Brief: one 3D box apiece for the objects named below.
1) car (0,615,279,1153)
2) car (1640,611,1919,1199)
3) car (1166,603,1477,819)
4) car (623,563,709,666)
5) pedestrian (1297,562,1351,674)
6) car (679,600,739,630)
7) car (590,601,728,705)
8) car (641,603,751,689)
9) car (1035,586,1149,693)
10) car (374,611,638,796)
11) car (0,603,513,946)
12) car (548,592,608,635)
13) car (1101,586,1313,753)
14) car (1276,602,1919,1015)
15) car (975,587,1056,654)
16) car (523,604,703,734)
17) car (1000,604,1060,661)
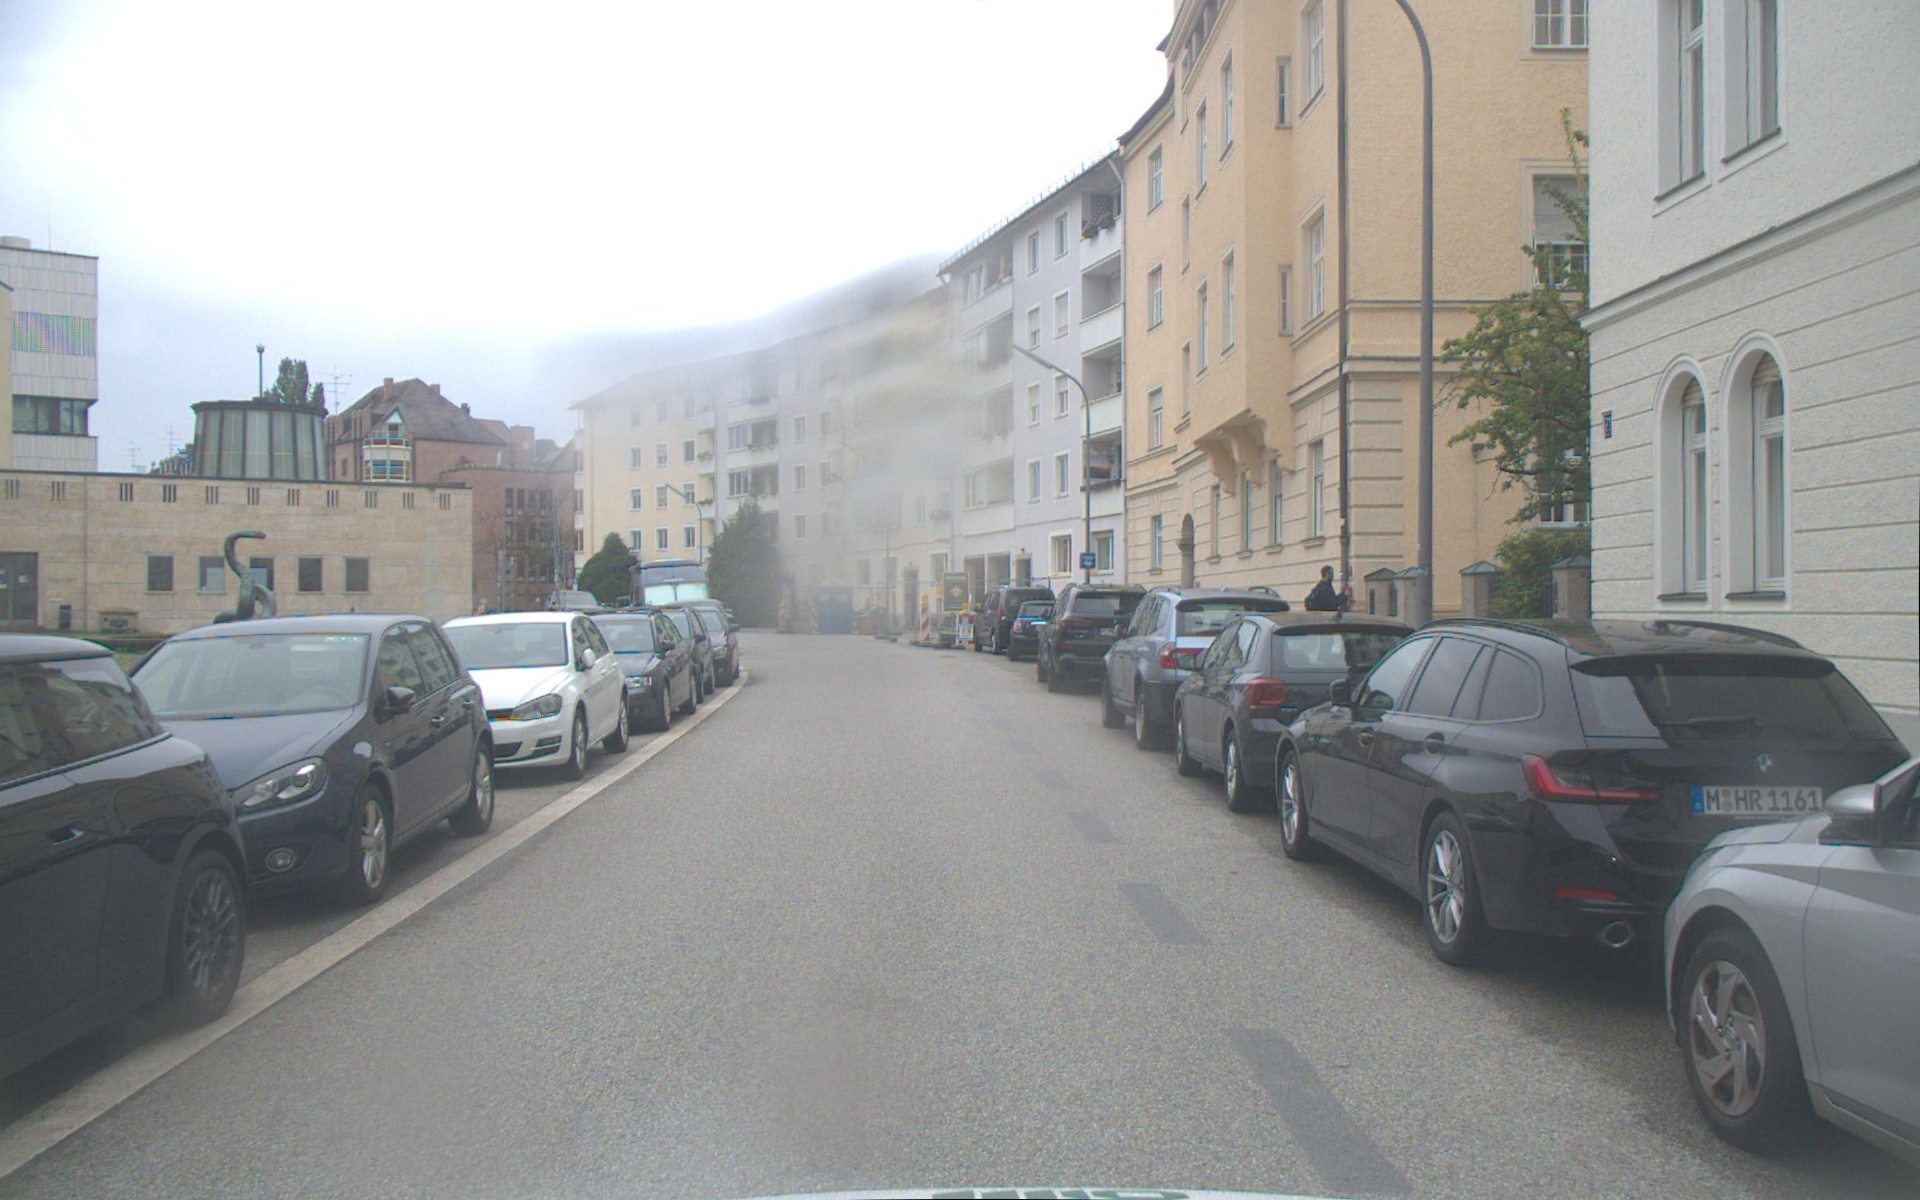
[{"bbox_3d":[-3.418,0.809,4.515,1.591,1.437,3.797,-2,0,-2],"label":"car"},{"bbox_3d":[3.124,0.765,3.482,1.658,1.458,3.943,1,-1,-2],"label":"car"},{"bbox_3d":[2.754,0.778,13.415,1.558,1.457,3.824,1,0,-2],"label":"car"},{"bbox_3d":[-8.164,0.382,45.674,1.744,2.700,3.978,0,0,-19],"label":"car"},{"bbox_3d":[5.747,0.285,26.118,0.653,1.722,0.690,2,-1,-1],"label":"pedestrian"},{"bbox_3d":[-13.715,0.800,90.234,1.685,1.586,3.530,0,0,-40],"label":"car"},{"bbox_3d":[-4.607,0.766,25.807,1.591,1.444,3.979,-1,0,-3],"label":"car"},{"bbox_3d":[-4.802,0.793,30.435,1.591,1.444,3.646,-1,0,-3],"label":"car"},{"bbox_3d":[2.165,0.611,27.991,1.444,1.669,3.999,1,0,-2],"label":"car"},{"bbox_3d":[-4.071,0.850,15.425,1.591,1.444,3.978,-1,0,-4],"label":"car"},{"bbox_3d":[-3.829,0.805,9.617,1.591,1.535,3.978,-1,0,-4],"label":"car"},{"bbox_3d":[-15.673,0.525,67.845,1.581,1.677,3.111,2,-1,-29],"label":"car"},{"bbox_3d":[2.616,0.675,18.416,1.558,1.610,4.297,1,0,-2],"label":"car"},{"bbox_3d":[2.847,0.769,8.243,1.558,1.457,4.419,1,0,-2],"label":"car"},{"bbox_3d":[1.471,0.526,45.044,1.573,1.745,3.082,1,0,-10],"label":"car"},{"bbox_3d":[-4.269,0.792,20.884,1.591,1.444,3.979,-1,0,-3],"label":"car"},{"bbox_3d":[1.660,0.750,39.838,1.246,1.321,2.796,0,0,-2],"label":"car"}]
